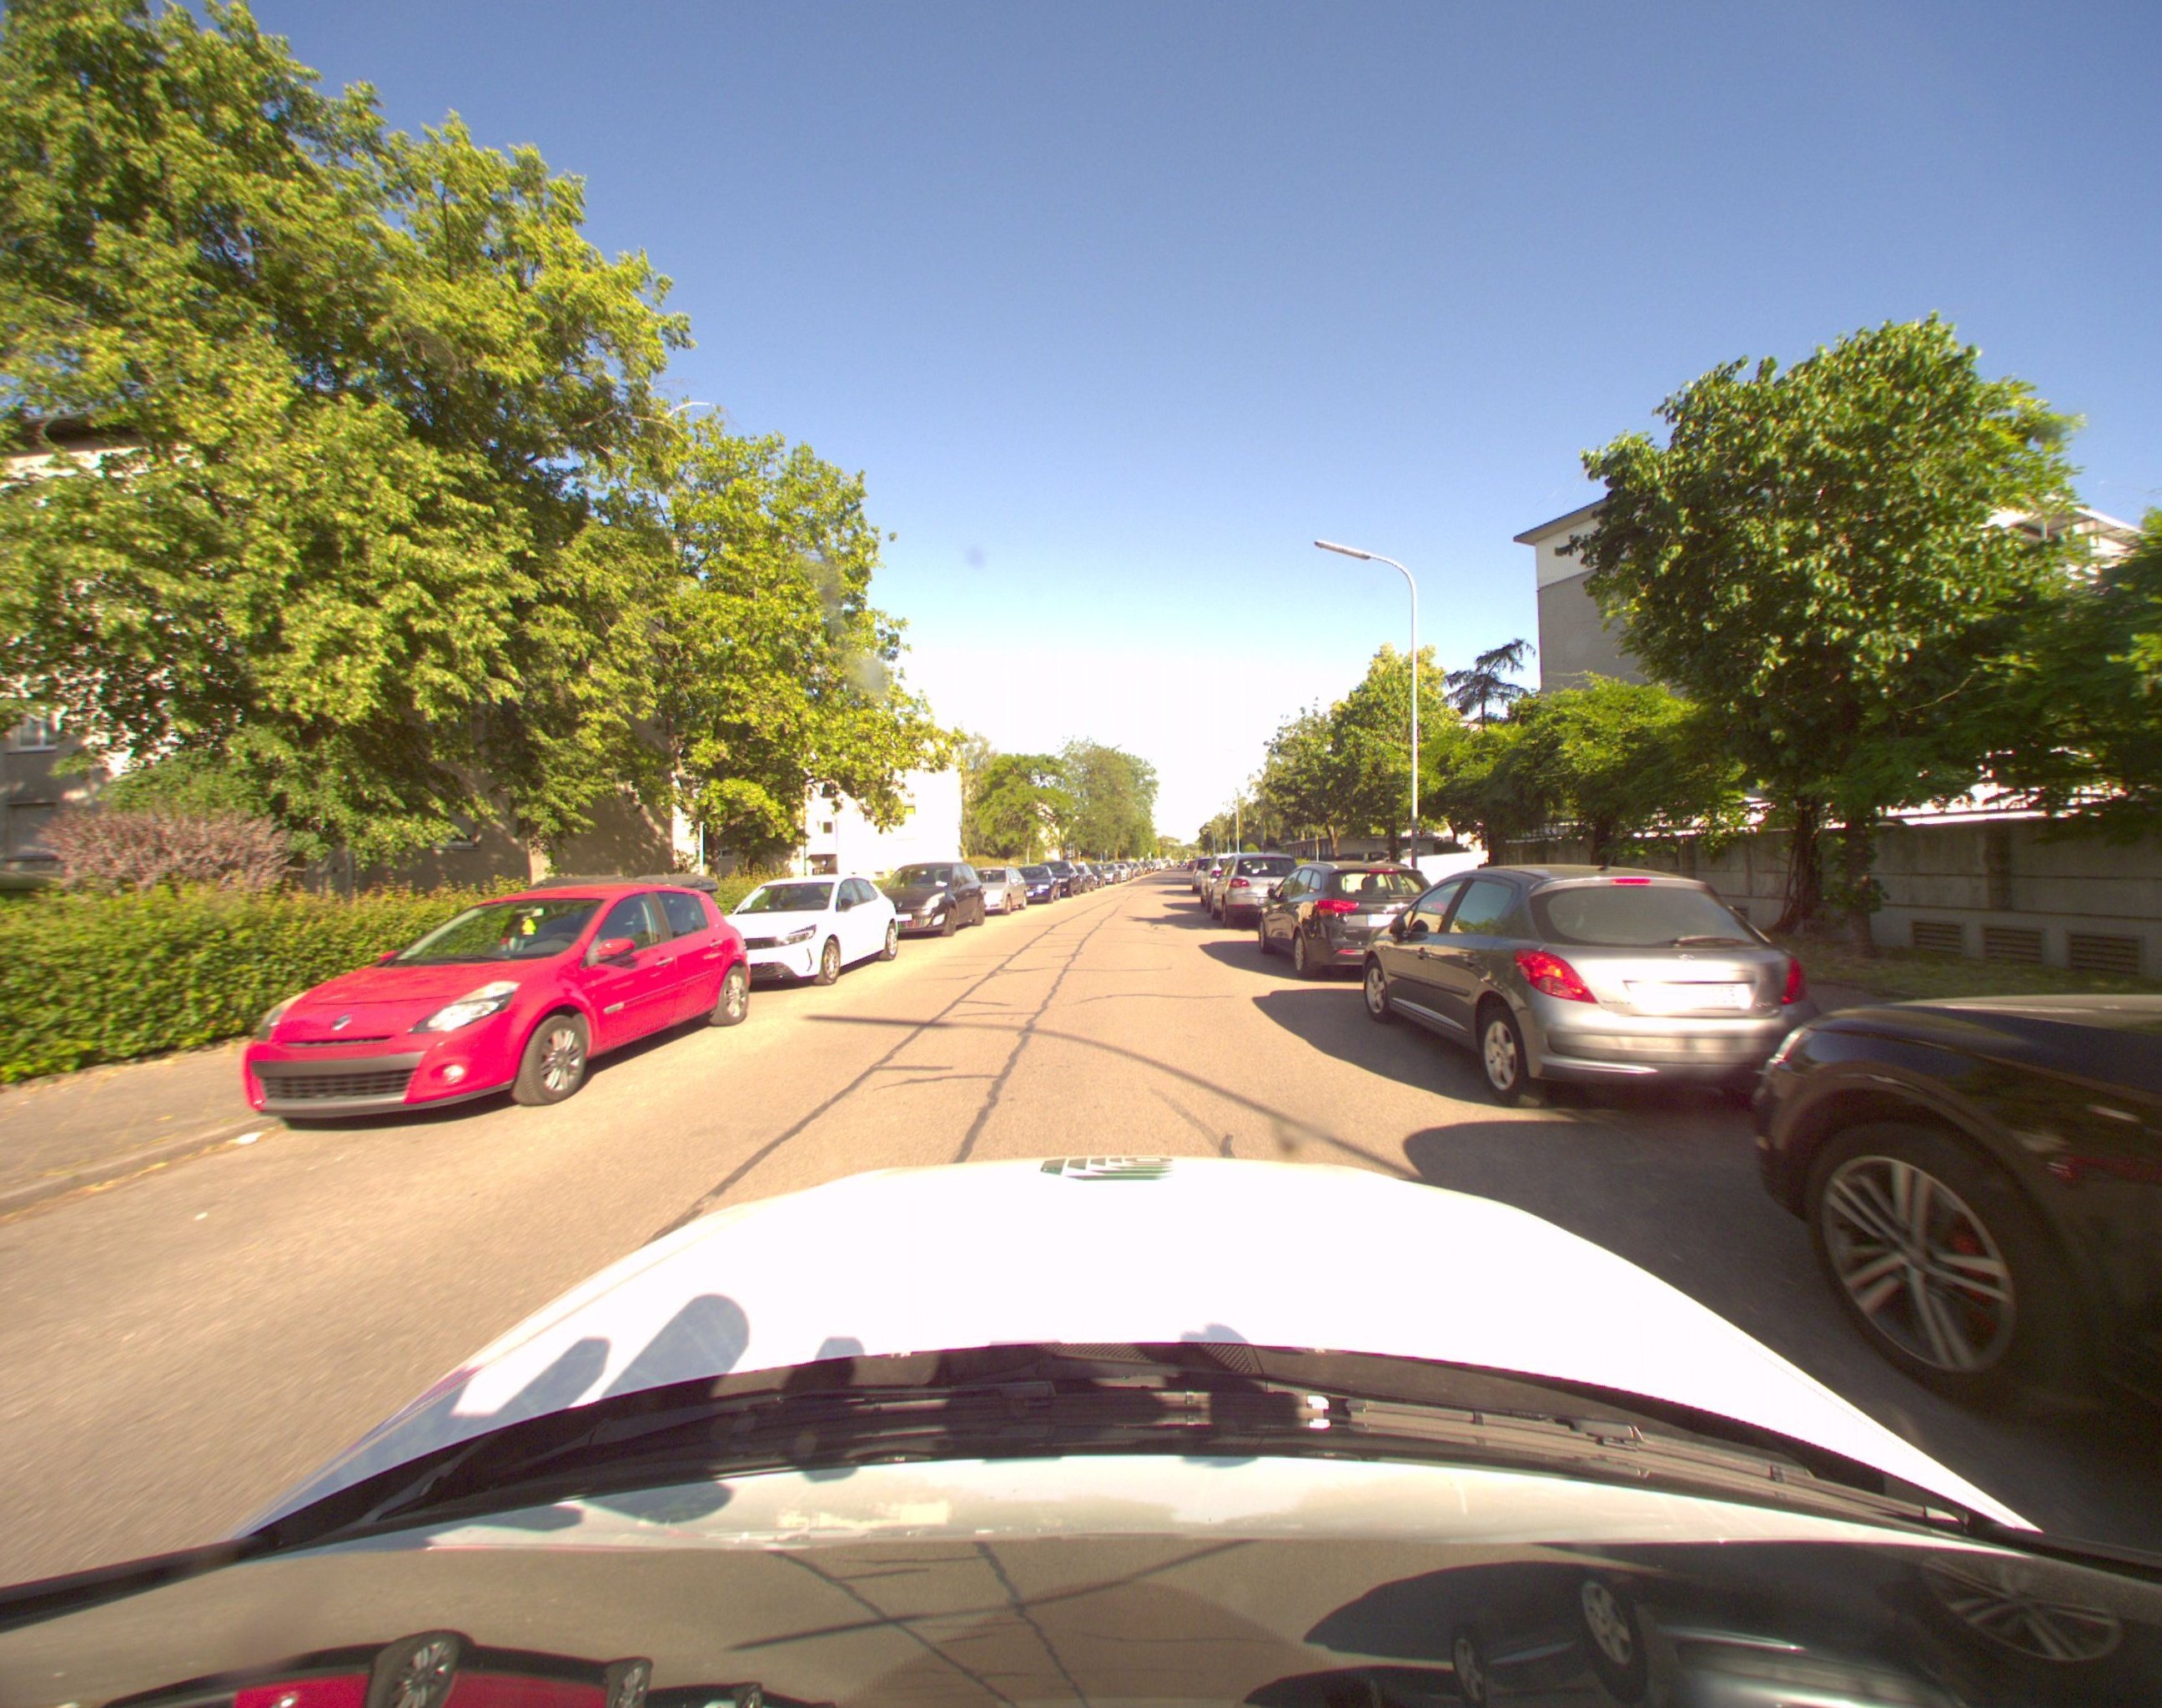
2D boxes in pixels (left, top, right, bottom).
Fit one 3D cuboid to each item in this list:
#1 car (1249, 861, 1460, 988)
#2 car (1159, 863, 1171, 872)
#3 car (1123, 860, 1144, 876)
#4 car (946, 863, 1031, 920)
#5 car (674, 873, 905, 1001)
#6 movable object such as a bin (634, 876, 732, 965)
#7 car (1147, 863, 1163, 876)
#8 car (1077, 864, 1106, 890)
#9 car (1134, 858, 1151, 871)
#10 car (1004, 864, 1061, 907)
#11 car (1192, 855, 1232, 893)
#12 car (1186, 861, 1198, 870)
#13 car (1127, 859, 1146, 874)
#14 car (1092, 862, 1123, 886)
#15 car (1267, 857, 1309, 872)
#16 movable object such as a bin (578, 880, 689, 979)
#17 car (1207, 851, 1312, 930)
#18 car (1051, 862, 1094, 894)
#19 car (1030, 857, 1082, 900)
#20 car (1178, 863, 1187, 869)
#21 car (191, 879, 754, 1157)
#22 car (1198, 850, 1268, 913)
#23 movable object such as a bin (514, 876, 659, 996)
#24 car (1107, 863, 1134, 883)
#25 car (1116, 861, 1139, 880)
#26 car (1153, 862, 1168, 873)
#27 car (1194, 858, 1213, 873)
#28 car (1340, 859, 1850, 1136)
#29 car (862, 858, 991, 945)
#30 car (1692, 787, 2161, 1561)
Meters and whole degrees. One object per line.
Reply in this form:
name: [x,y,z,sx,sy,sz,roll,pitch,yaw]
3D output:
car: [3.610,0.835,11.597,1.675,1.456,4.293,0,0,1]
car: [14.798,2.363,143.012,1.813,1.466,4.245,-1,1,10]
car: [5.083,1.331,78.560,1.500,1.381,3.477,-4,-1,10]
car: [-2.750,1.094,25.024,1.651,1.486,4.060,-3,-1,6]
car: [-4.015,1.066,11.953,1.662,1.421,3.906,-3,-1,5]
movable object such as a bin: [-6.978,1.136,14.357,0.984,1.418,1.315,-2,0,2]
car: [9.974,2.089,110.087,1.813,1.466,4.245,-1,1,10]
car: [0.669,1.368,49.391,1.382,1.413,3.131,-3,-1,7]
car: [7.100,1.223,93.213,1.500,1.329,3.477,-4,-1,10]
car: [-1.765,1.135,30.848,1.653,1.426,4.051,-3,-1,2]
car: [5.967,0.893,37.354,1.688,1.641,4.242,-1,0,7]
car: [17.457,1.748,127.834,1.814,1.325,4.243,-1,1,8]
car: [5.755,1.292,84.532,1.500,1.329,3.477,-4,-1,10]
car: [1.881,1.371,56.240,1.500,1.451,3.701,-4,-1,10]
car: [22.228,1.179,87.693,4.195,1.530,1.834,-1,-3,8]
movable object such as a bin: [-7.098,1.160,12.987,0.984,1.418,1.315,-2,0,0]
car: [3.998,0.766,18.889,1.722,1.619,4.237,-1,0,3]
car: [-0.392,1.197,41.462,1.652,1.439,3.766,-3,-1,6]
car: [-1.040,1.053,36.192,1.651,1.688,4.056,-3,-1,6]
car: [23.328,2.736,187.244,1.934,1.289,4.242,-1,1,7]
car: [-4.344,1.028,6.650,1.664,1.474,3.680,-3,-1,2]
car: [4.436,0.763,24.247,1.645,1.698,4.239,-1,0,5]
movable object such as a bin: [-6.894,1.106,11.460,1.107,1.498,1.409,-2,0,0]
car: [3.072,1.433,62.515,1.500,1.364,3.477,-4,-1,10]
car: [4.002,1.403,70.198,1.500,1.434,3.477,-4,-1,10]
car: [11.732,1.909,120.188,1.813,1.466,4.245,-1,1,10]
car: [12.761,1.199,84.921,1.814,1.466,4.242,-1,-1,7]
car: [3.405,0.796,6.350,1.678,1.488,3.826,0,-1,2]
car: [-3.382,0.976,18.705,1.662,1.666,4.412,-3,-1,5]
car: [3.196,0.687,0.907,1.803,1.664,4.464,0,0,2]
